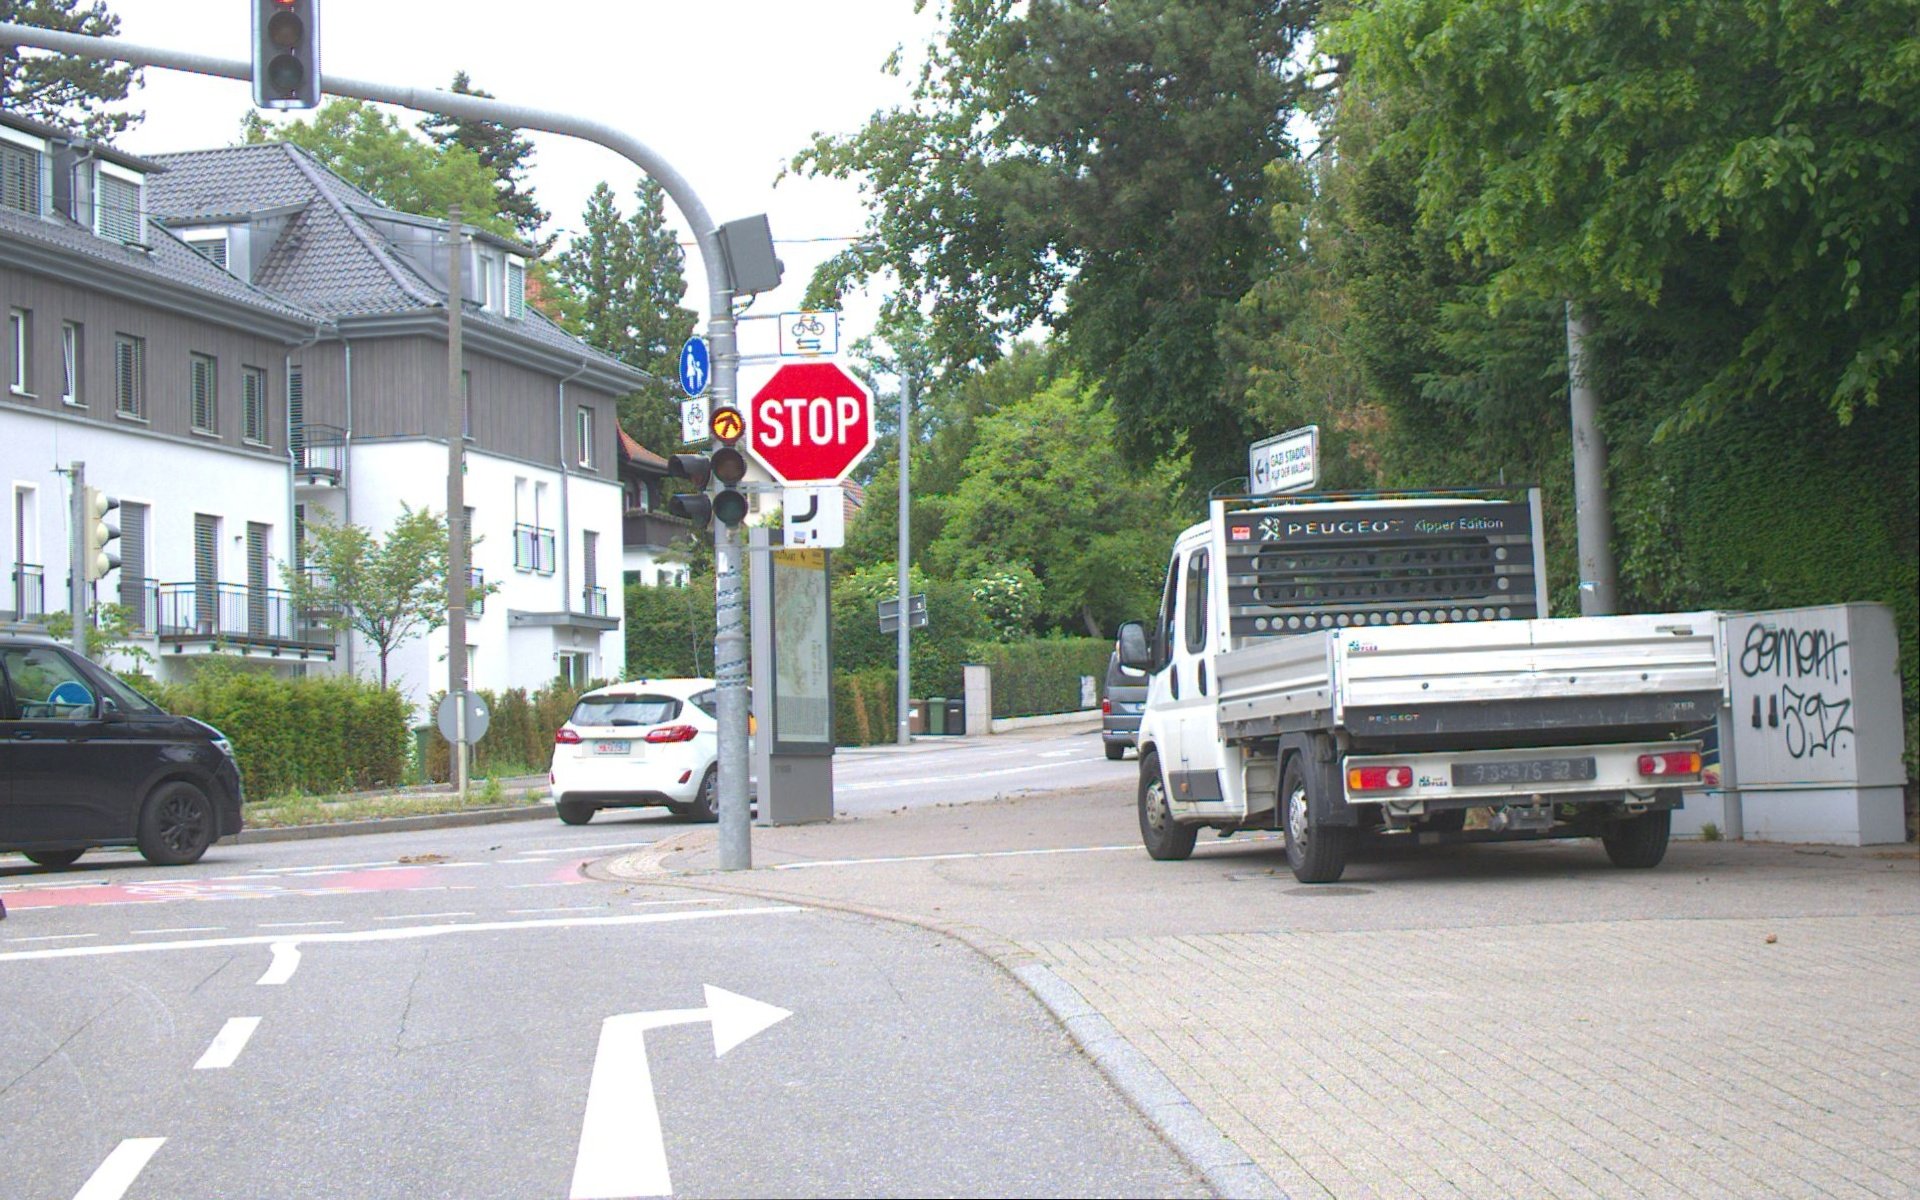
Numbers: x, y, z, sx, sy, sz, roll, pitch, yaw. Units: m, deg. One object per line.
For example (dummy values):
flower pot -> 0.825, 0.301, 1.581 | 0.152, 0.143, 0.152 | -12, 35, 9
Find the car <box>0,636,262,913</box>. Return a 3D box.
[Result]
car -> -7.927, 1.320, 26.333 | 1.999, 2.007, 4.768 | 1, 1, 43

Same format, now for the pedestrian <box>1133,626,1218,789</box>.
pedestrian -> 2.719, 1.353, 43.269 | 0.839, 2.007, 0.588 | -3, -1, 23

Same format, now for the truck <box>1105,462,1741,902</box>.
truck -> 2.489, 0.528, 20.428 | 2.183, 2.188, 5.882 | -1, -2, -8

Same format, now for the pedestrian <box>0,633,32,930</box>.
pedestrian -> -5.791, 1.039, 19.703 | 0.698, 1.676, 0.686 | -2, 1, -33

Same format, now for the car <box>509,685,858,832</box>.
car -> -2.808, 1.621, 35.790 | 1.933, 1.378, 3.995 | -3, -2, 23

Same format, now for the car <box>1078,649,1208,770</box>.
car -> 3.219, 1.908, 61.292 | 1.993, 2.007, 4.509 | -1, -1, -1
